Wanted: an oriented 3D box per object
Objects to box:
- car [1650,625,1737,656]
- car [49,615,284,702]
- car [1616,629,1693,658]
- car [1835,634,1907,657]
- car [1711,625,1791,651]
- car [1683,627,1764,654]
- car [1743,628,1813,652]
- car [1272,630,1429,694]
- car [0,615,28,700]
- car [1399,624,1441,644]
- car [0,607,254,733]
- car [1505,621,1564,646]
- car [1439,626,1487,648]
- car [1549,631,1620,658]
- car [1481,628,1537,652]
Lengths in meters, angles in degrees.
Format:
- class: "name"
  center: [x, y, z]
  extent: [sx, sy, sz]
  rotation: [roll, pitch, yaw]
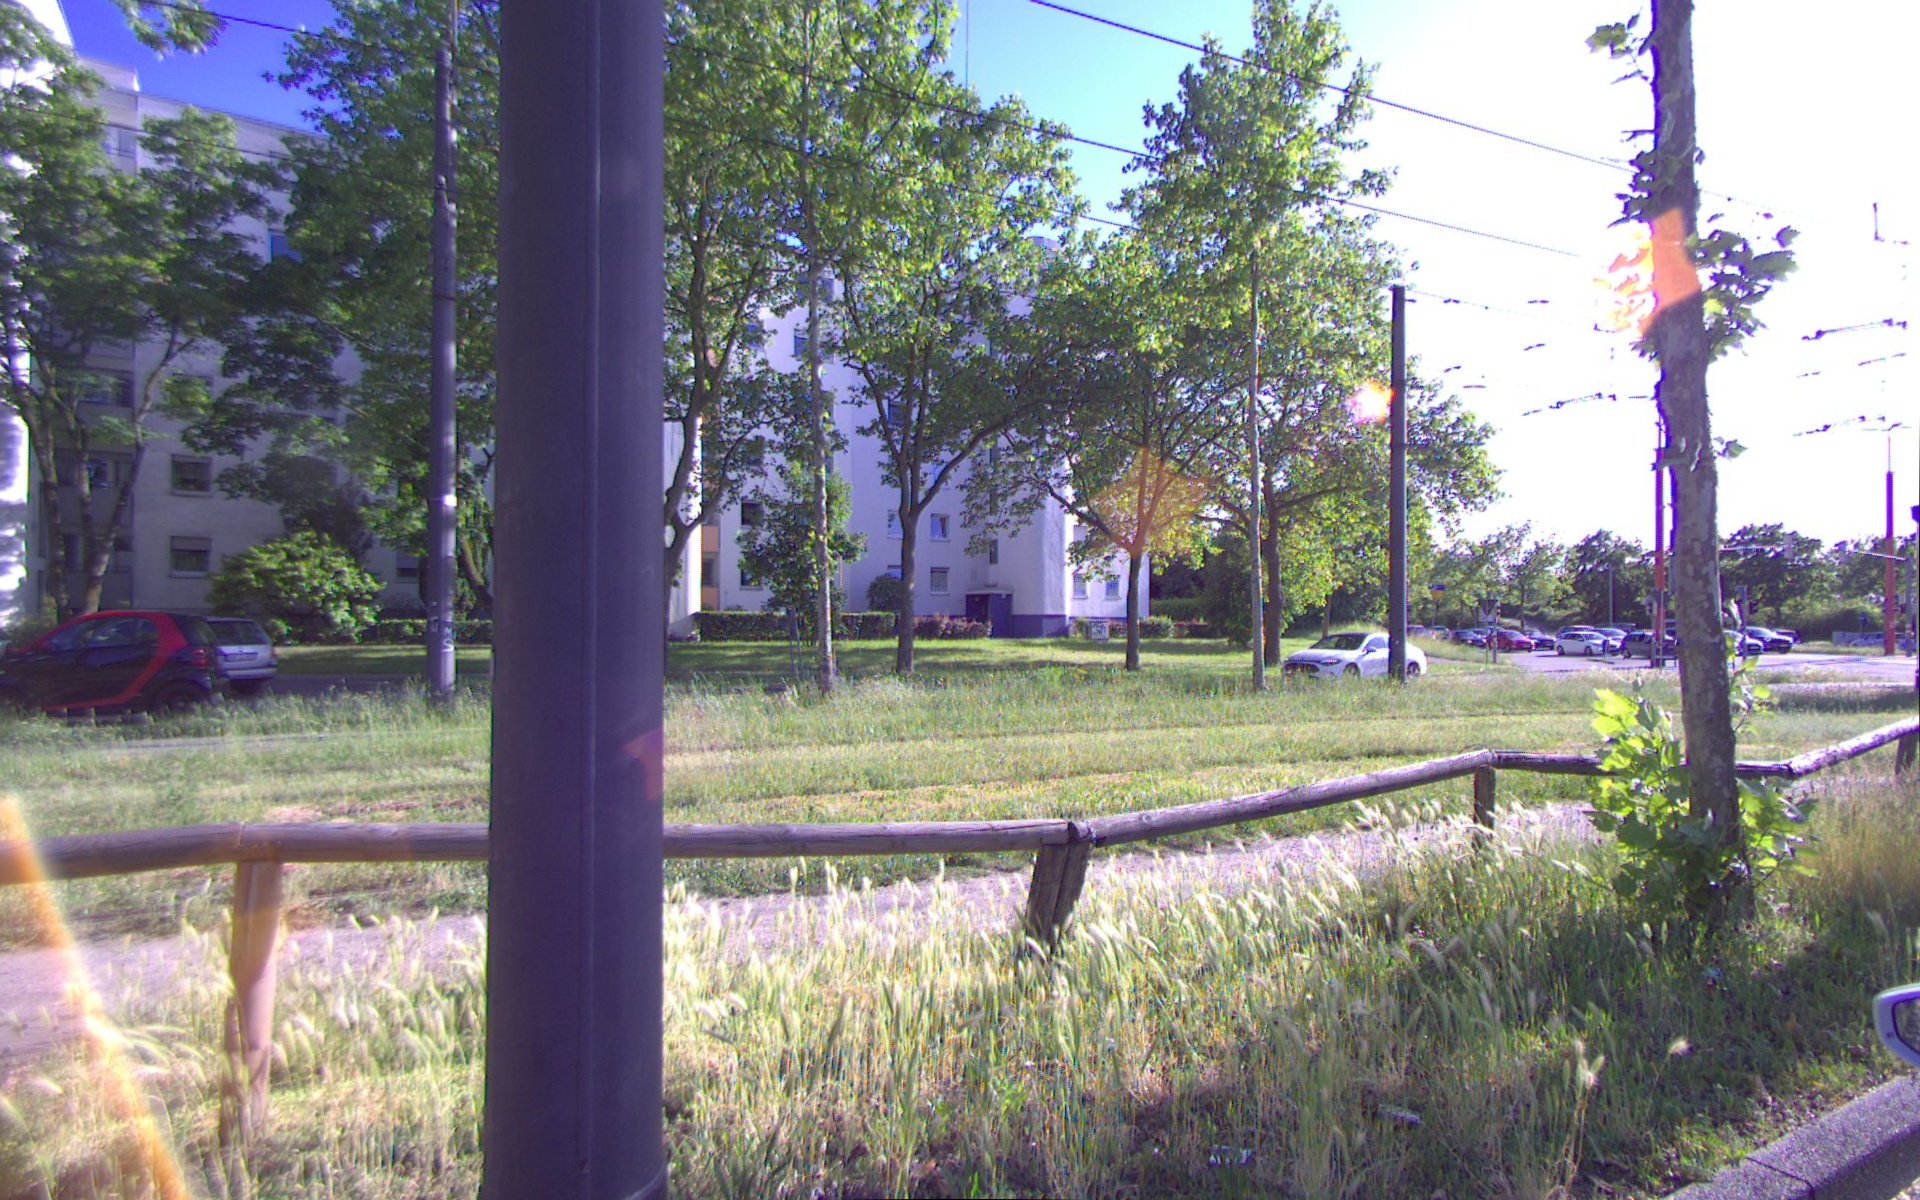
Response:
- class: "car"
  center: [42.321, 2.307, 58.097]
  extent: [1.624, 1.669, 4.644]
  rotation: [1, -1, 1]
- class: "car"
  center: [-14.542, 1.012, 18.421]
  extent: [3.830, 1.421, 1.581]
  rotation: [1, 0, 20]
- class: "car"
  center: [38.959, 2.407, 56.441]
  extent: [1.624, 1.460, 3.841]
  rotation: [1, -1, -2]
- class: "car"
  center: [63.340, 3.125, 69.916]
  extent: [1.624, 1.421, 3.805]
  rotation: [1, -1, 1]
- class: "car"
  center: [48.647, 2.321, 61.888]
  extent: [1.513, 1.434, 4.154]
  rotation: [1, -1, -3]
- class: "car"
  center: [45.568, 2.392, 60.055]
  extent: [1.513, 1.434, 4.154]
  rotation: [1, -1, -3]
- class: "car"
  center: [59.014, 2.858, 72.537]
  extent: [1.960, 1.665, 4.002]
  rotation: [1, -1, 4]
- class: "car"
  center: [10.408, 1.588, 26.633]
  extent: [4.597, 1.530, 1.640]
  rotation: [1, -1, -36]
- class: "car"
  center: [-17.991, 0.949, 17.147]
  extent: [3.567, 1.421, 1.581]
  rotation: [1, 0, 20]
- class: "car"
  center: [38.637, 2.816, 84.385]
  extent: [1.624, 1.540, 4.200]
  rotation: [1, -1, 1]
- class: "car"
  center: [-11.590, 0.910, 13.884]
  extent: [2.781, 1.578, 1.570]
  rotation: [1, 0, -28]
- class: "car"
  center: [42.263, 2.431, 74.062]
  extent: [1.721, 1.669, 4.644]
  rotation: [1, -1, 1]
- class: "car"
  center: [38.654, 2.816, 77.246]
  extent: [1.624, 1.540, 4.200]
  rotation: [1, -1, 1]
- class: "car"
  center: [38.912, 2.755, 62.728]
  extent: [1.624, 1.540, 4.638]
  rotation: [1, -1, 1]
- class: "car"
  center: [38.441, 2.776, 70.443]
  extent: [1.624, 1.540, 4.200]
  rotation: [1, -1, 1]
